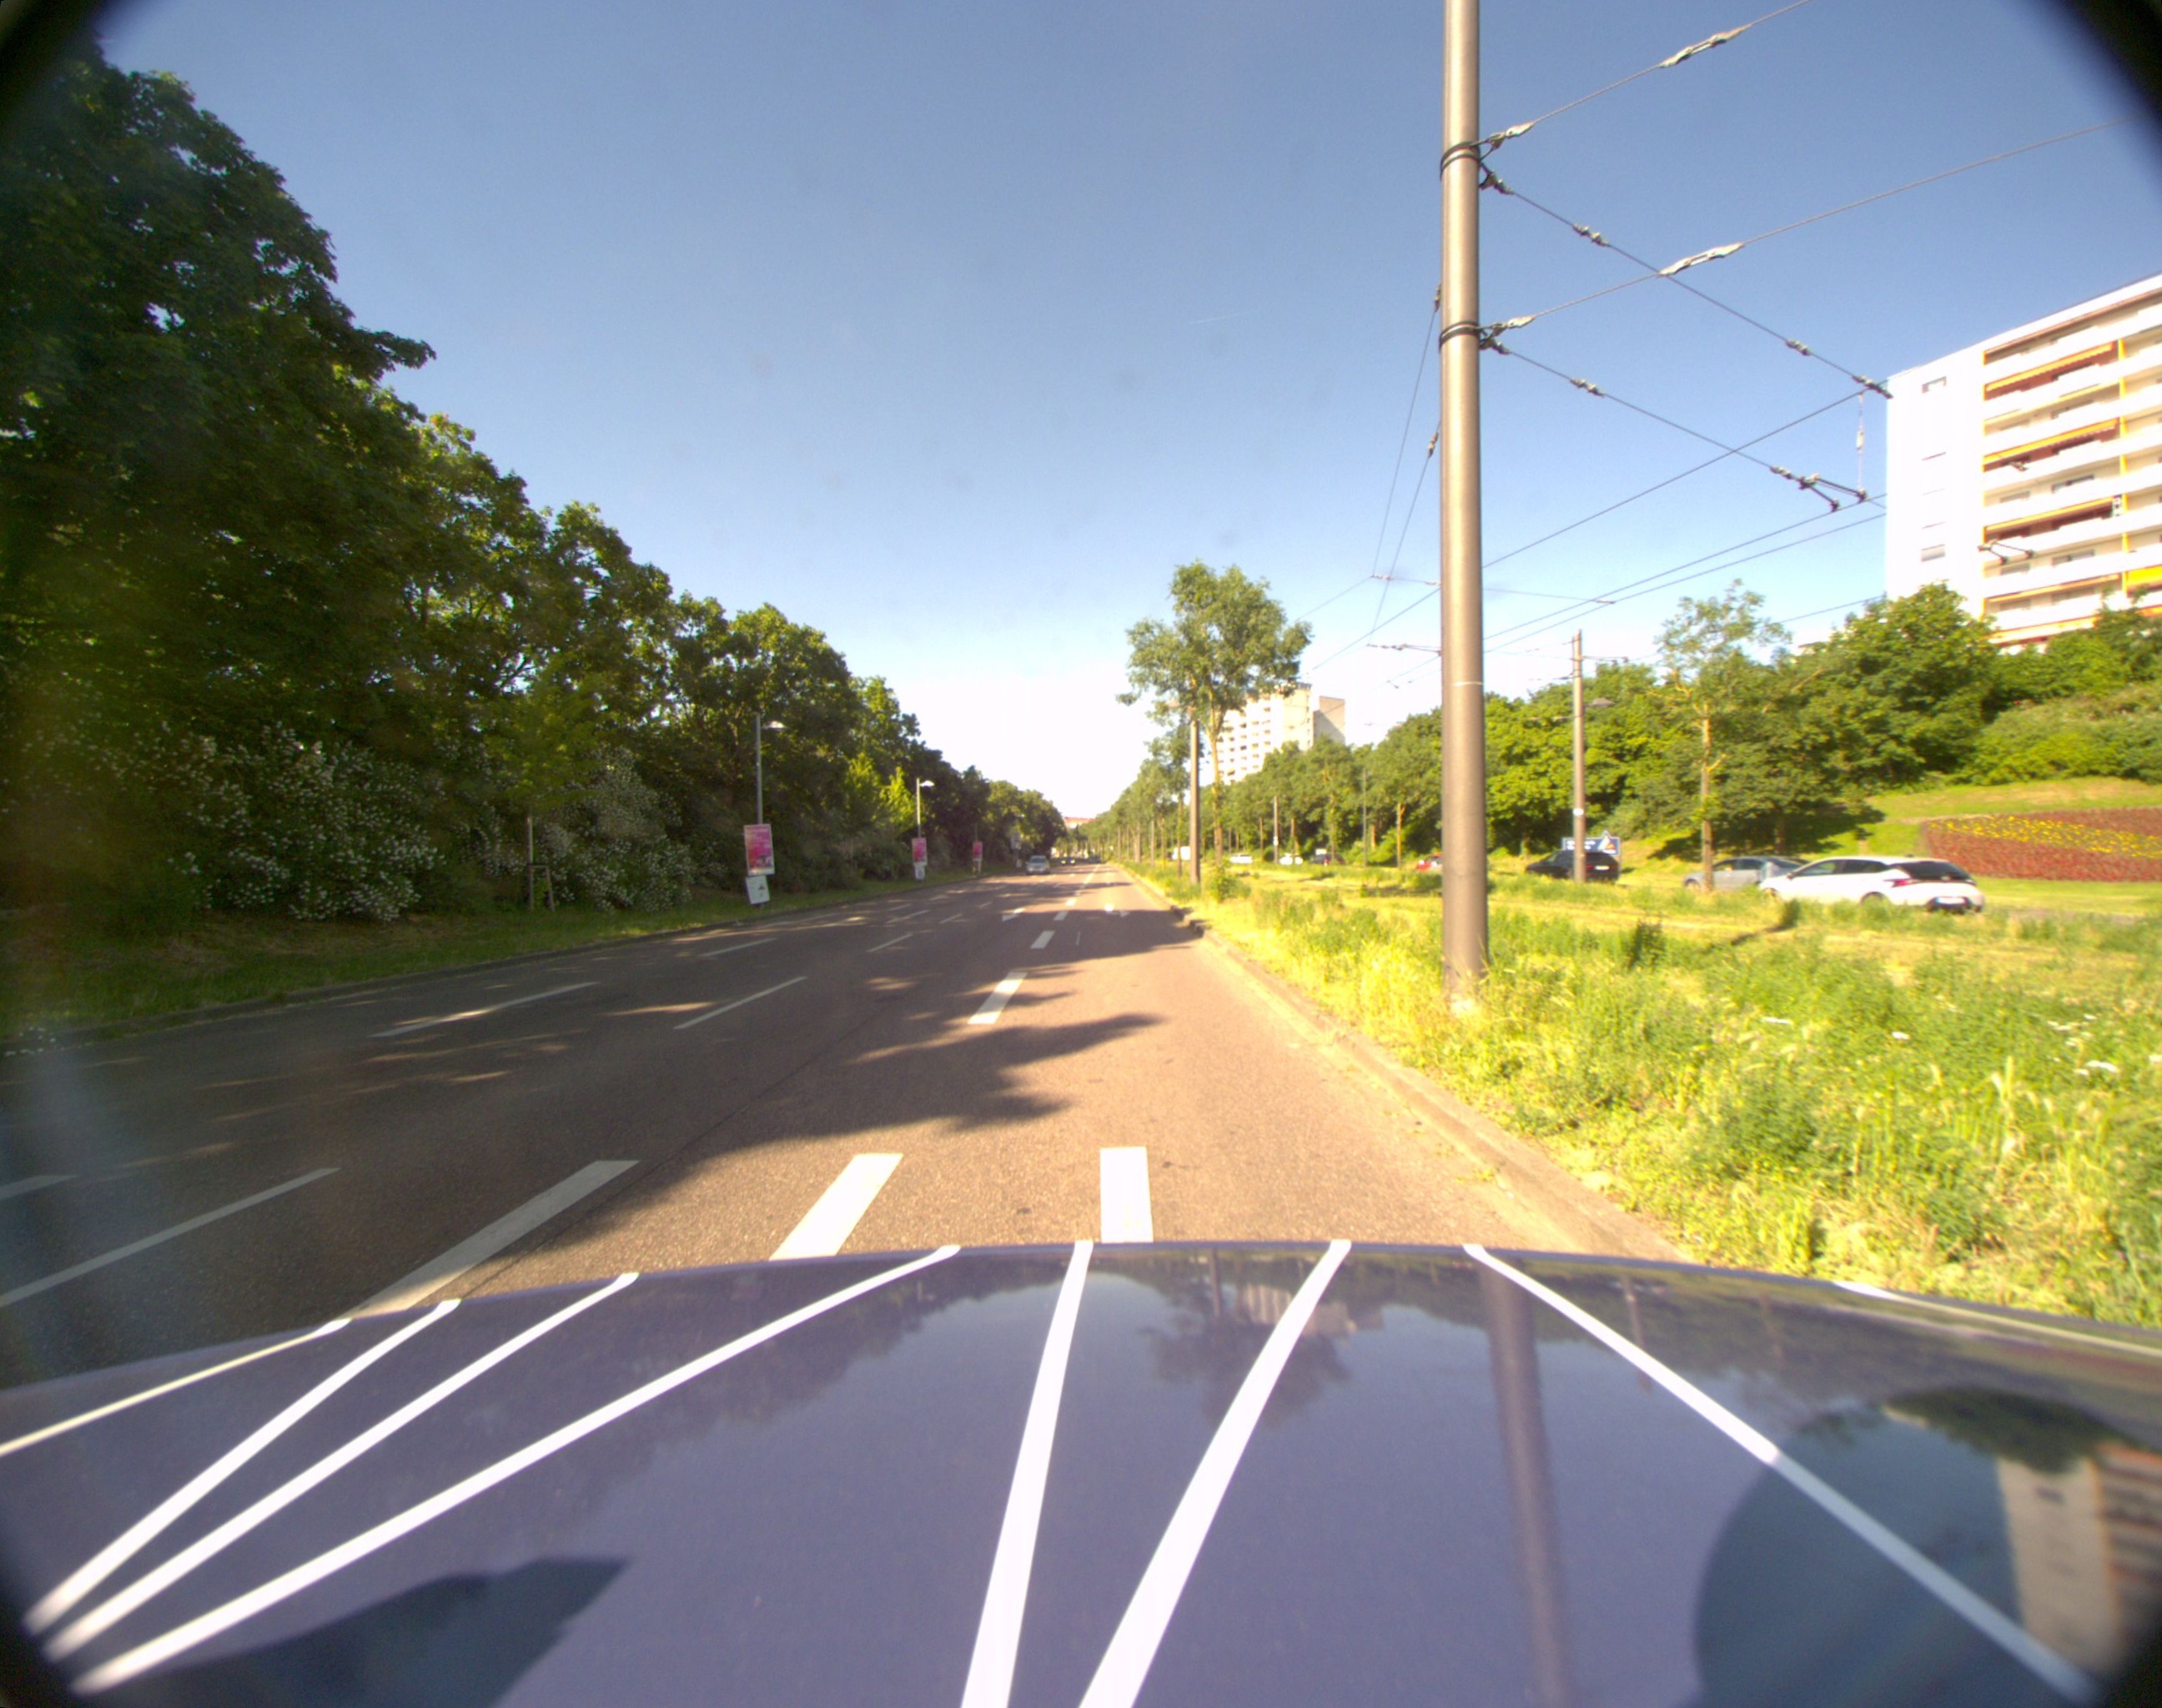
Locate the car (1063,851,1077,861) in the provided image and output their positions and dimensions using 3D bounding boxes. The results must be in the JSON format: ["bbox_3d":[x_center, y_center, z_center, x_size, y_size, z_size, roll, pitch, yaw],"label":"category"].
[{"bbox_3d":[-1.616,0.267,111.758,1.831,1.400,4.216,-1,0,0],"label":"car"}]

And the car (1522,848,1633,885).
[{"bbox_3d":[21.876,0.489,33.728,1.998,1.472,4.631,-2,1,2],"label":"car"}]

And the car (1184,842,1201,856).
[{"bbox_3d":[19.286,-0.938,131.423,2.044,2.355,6.880,-1,1,2],"label":"car"}]

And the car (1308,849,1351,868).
[{"bbox_3d":[19.554,0.324,59.961,1.998,1.401,4.991,-2,1,3],"label":"car"}]

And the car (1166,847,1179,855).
[{"bbox_3d":[18.765,-0.631,156.001,1.998,1.575,5.273,-2,1,2],"label":"car"}]

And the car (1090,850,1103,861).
[{"bbox_3d":[2.464,0.162,124.098,1.998,1.696,3.999,-2,1,0],"label":"car"}]

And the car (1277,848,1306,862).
[{"bbox_3d":[22.443,0.036,81.044,1.904,1.390,4.543,-2,1,2],"label":"car"}]

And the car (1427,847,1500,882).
[{"bbox_3d":[18.617,0.469,37.136,1.767,1.599,3.758,0,1,2],"label":"car"}]

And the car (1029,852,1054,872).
[{"bbox_3d":[-3.376,0.640,65.612,1.672,1.531,4.060,-4,0,2],"label":"car"}]

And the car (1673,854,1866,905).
[{"bbox_3d":[21.843,0.737,24.443,1.998,1.424,4.693,0,1,1],"label":"car"}]

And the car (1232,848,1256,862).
[{"bbox_3d":[19.240,0.111,89.876,1.899,1.612,4.656,-2,1,0],"label":"car"}]

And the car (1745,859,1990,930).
[{"bbox_3d":[18.148,0.866,17.864,1.592,1.464,4.184,1,-1,3],"label":"car"}]

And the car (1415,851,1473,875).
[{"bbox_3d":[21.900,0.524,46.018,1.661,1.290,4.177,-2,1,2],"label":"car"}]
